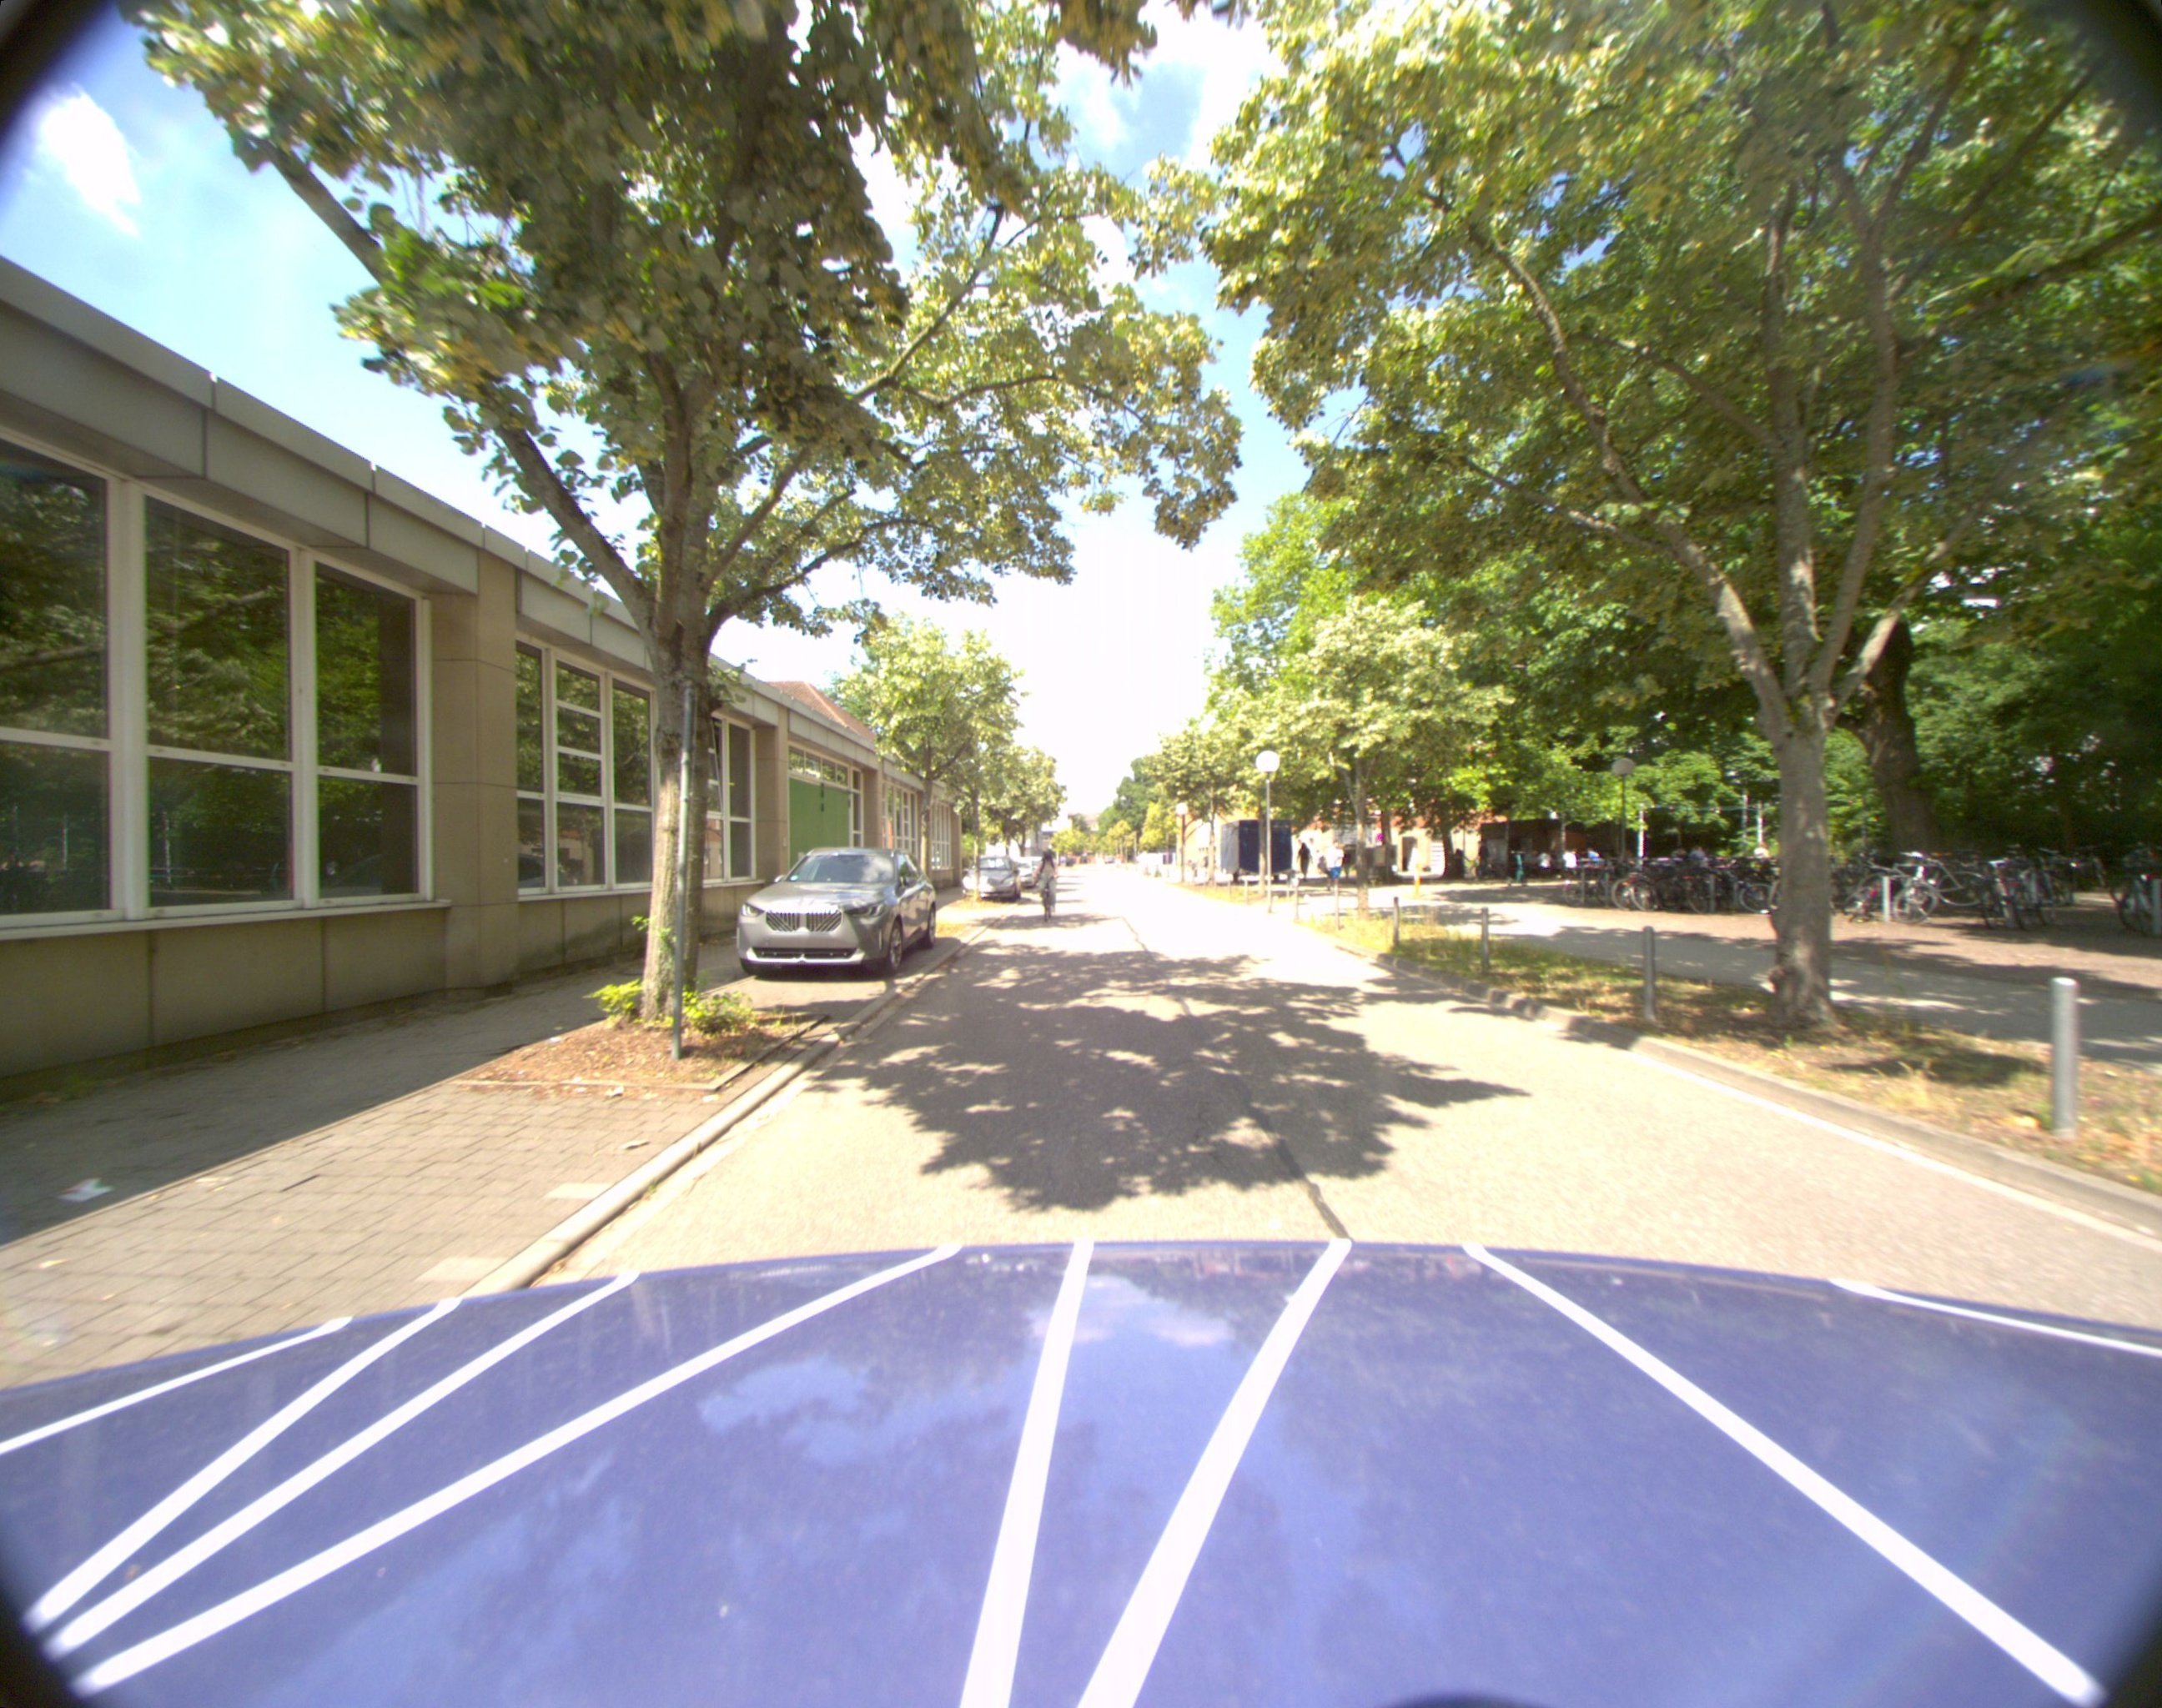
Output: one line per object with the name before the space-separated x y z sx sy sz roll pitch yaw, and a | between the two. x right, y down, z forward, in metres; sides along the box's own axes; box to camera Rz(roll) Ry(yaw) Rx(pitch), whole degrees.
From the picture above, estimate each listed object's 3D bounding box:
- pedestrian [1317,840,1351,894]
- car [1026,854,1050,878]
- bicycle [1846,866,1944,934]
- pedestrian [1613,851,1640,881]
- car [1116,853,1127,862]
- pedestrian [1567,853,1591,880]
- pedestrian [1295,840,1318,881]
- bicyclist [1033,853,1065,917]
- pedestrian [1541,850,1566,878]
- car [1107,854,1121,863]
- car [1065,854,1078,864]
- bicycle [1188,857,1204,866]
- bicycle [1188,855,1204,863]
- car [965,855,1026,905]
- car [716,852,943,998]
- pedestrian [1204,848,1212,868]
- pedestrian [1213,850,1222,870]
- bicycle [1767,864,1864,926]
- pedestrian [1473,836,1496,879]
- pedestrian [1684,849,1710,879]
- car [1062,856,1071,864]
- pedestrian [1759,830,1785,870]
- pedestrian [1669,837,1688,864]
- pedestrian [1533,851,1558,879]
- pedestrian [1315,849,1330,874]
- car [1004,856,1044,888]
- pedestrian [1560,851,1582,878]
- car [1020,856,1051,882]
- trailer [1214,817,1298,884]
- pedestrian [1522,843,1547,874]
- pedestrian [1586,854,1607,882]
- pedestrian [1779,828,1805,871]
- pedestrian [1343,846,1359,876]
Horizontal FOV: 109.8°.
pedestrian | 8.645 0.437 26.017 0.801 1.820 0.987 -1 0 1
car | -2.961 0.817 52.905 1.591 1.458 3.987 0 2 -2
bicycle | 13.474 0.723 12.565 1.895 1.002 0.676 -1 0 -29
pedestrian | 23.642 0.509 32.944 0.570 1.243 0.766 -2 0 -11
car | 8.242 0.691 155.158 1.912 1.870 4.003 -1 0 7
pedestrian | 24.267 0.603 37.033 0.689 1.315 0.778 0 0 2
pedestrian | 10.997 0.326 37.118 0.919 1.943 0.892 -3 1 10
bicyclist | -0.775 0.736 18.440 0.675 1.470 1.062 0 2 2
pedestrian | 21.410 0.472 34.444 0.596 1.226 0.741 -1 -1 -34
car | 7.974 1.121 181.457 2.022 2.079 4.440 -1 -1 21
car | -1.625 0.866 134.338 1.939 1.671 3.470 0 0 5
bicycle | 14.711 0.945 97.026 1.955 1.024 0.530 -1 0 -1
bicycle | 15.030 0.606 99.520 1.955 1.024 0.518 -1 0 -1
car | -2.904 0.845 26.591 1.708 1.565 4.139 1 0 -1
car | -3.281 0.813 10.949 1.827 1.654 4.583 0 0 -1
pedestrian | 11.546 0.378 68.921 0.564 1.752 0.805 -1 1 0
pedestrian | 12.372 0.562 68.873 0.577 1.769 0.917 -1 1 0
bicycle | 13.403 0.710 13.851 2.157 1.002 0.676 -1 0 -29
pedestrian | 17.657 0.145 33.273 0.531 1.837 0.806 -1 0 1
pedestrian | 24.880 0.398 30.687 0.392 1.187 0.730 -1 0 -9
car | -2.373 1.019 126.046 1.552 1.377 3.453 0 0 -1
pedestrian | 24.814 -0.131 27.293 0.507 1.414 0.460 -2 1 -10
pedestrian | 24.670 -0.140 31.371 0.336 1.133 0.506 -2 1 -10
pedestrian | 20.864 0.485 34.137 0.596 1.226 0.741 -1 -1 -34
pedestrian | 14.779 0.475 46.500 0.744 1.500 0.499 -2 1 1
car | -2.760 0.843 37.772 1.730 1.458 4.671 0 0 -1
pedestrian | 23.247 0.511 36.061 0.561 1.264 0.693 -1 0 1
car | -2.741 0.882 46.371 1.650 1.383 3.987 -2 1 0
trailer | 8.651 -0.154 38.307 2.703 3.009 6.266 -2 0 0
pedestrian | 20.844 0.214 34.910 0.596 1.361 0.741 -1 -1 -34
pedestrian | 24.431 0.639 36.031 0.646 1.315 0.559 0 0 2
pedestrian | 25.702 -0.158 27.462 0.507 1.513 0.473 -2 1 -10
pedestrian | 15.269 0.410 42.996 0.632 1.656 0.643 -2 1 1
